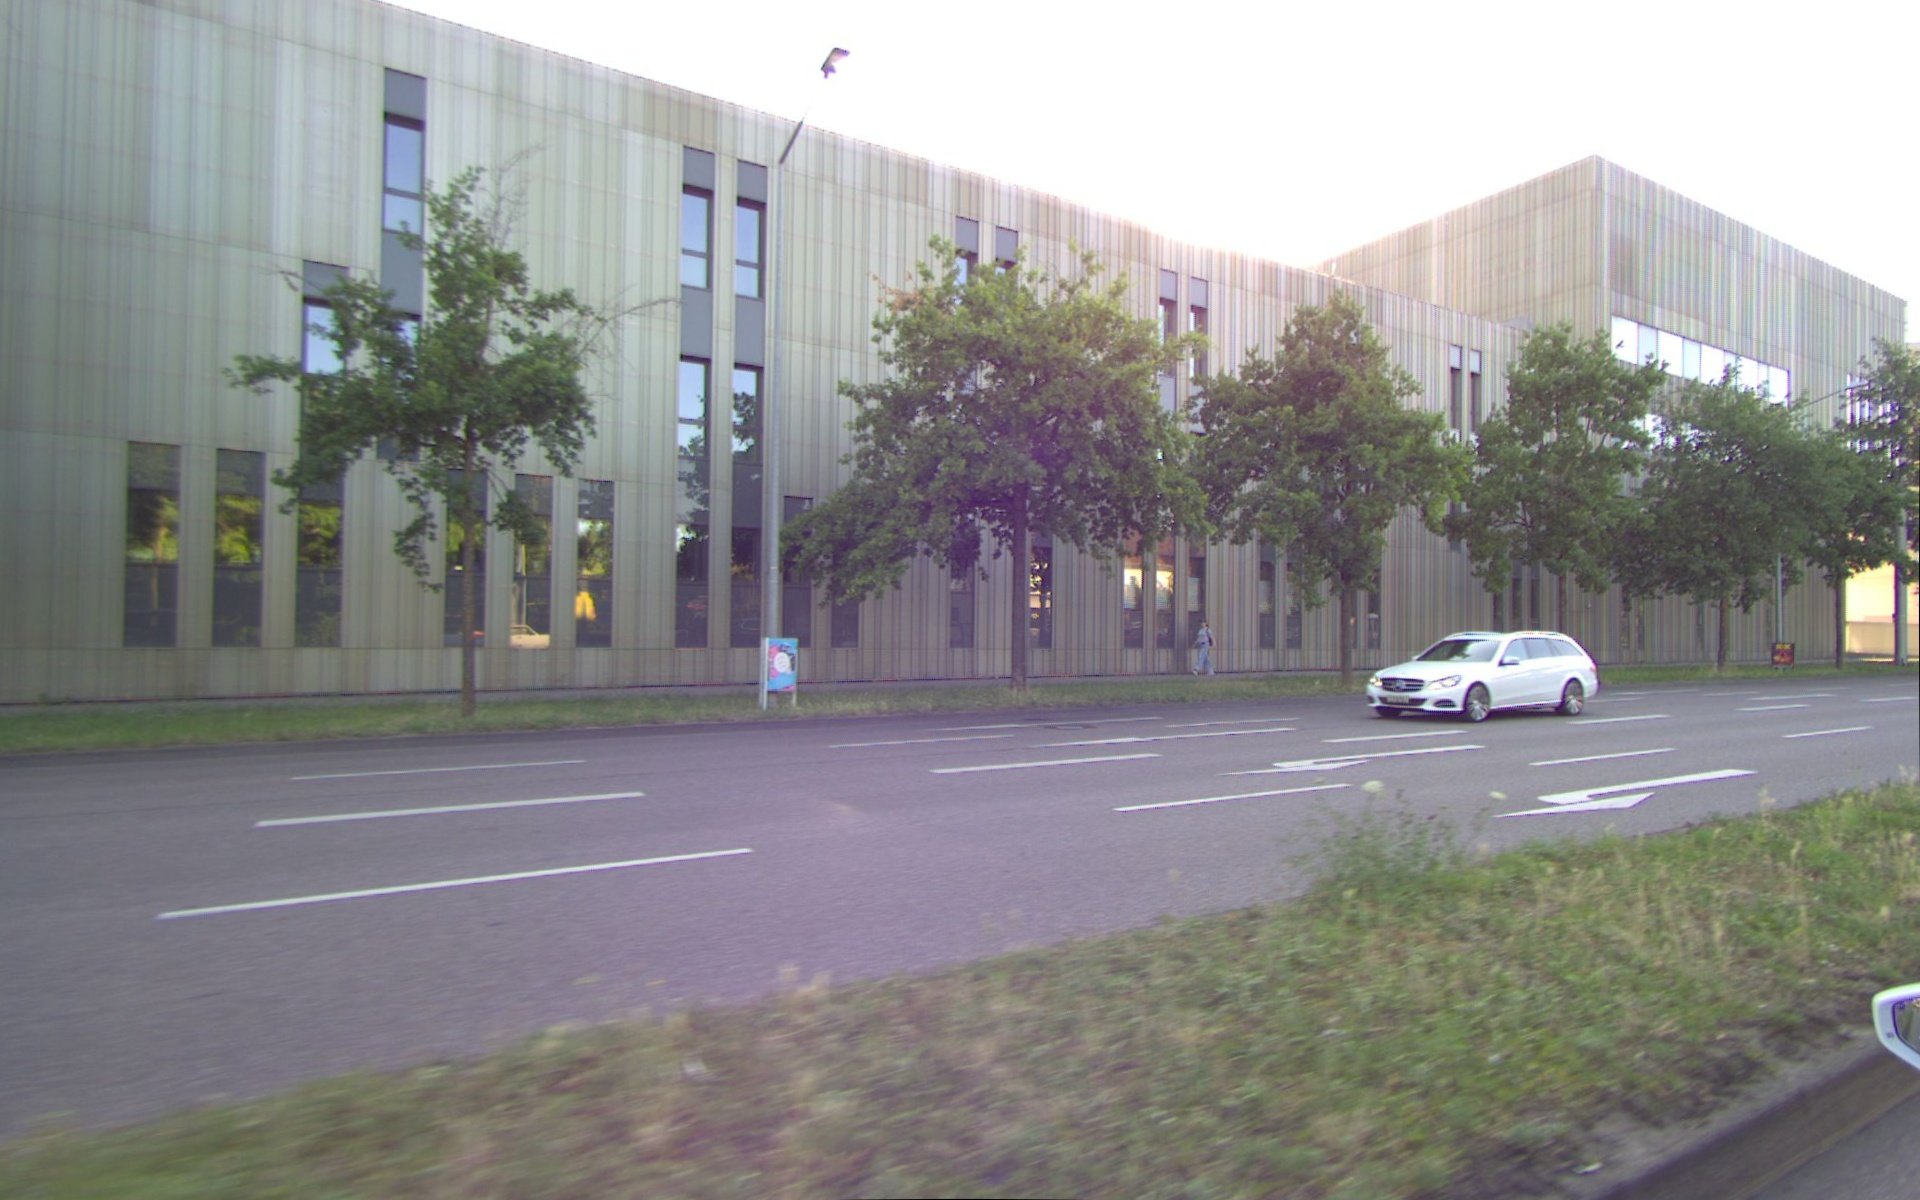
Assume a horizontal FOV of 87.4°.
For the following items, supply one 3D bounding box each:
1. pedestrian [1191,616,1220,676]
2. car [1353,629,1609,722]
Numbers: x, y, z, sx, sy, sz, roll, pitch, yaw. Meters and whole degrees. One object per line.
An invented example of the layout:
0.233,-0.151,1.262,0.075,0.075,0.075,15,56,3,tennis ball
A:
7.501,1.397,30.680,0.641,1.790,0.600,1,-1,-29,pedestrian
9.467,1.304,18.167,4.758,1.492,1.837,1,-3,-30,car
